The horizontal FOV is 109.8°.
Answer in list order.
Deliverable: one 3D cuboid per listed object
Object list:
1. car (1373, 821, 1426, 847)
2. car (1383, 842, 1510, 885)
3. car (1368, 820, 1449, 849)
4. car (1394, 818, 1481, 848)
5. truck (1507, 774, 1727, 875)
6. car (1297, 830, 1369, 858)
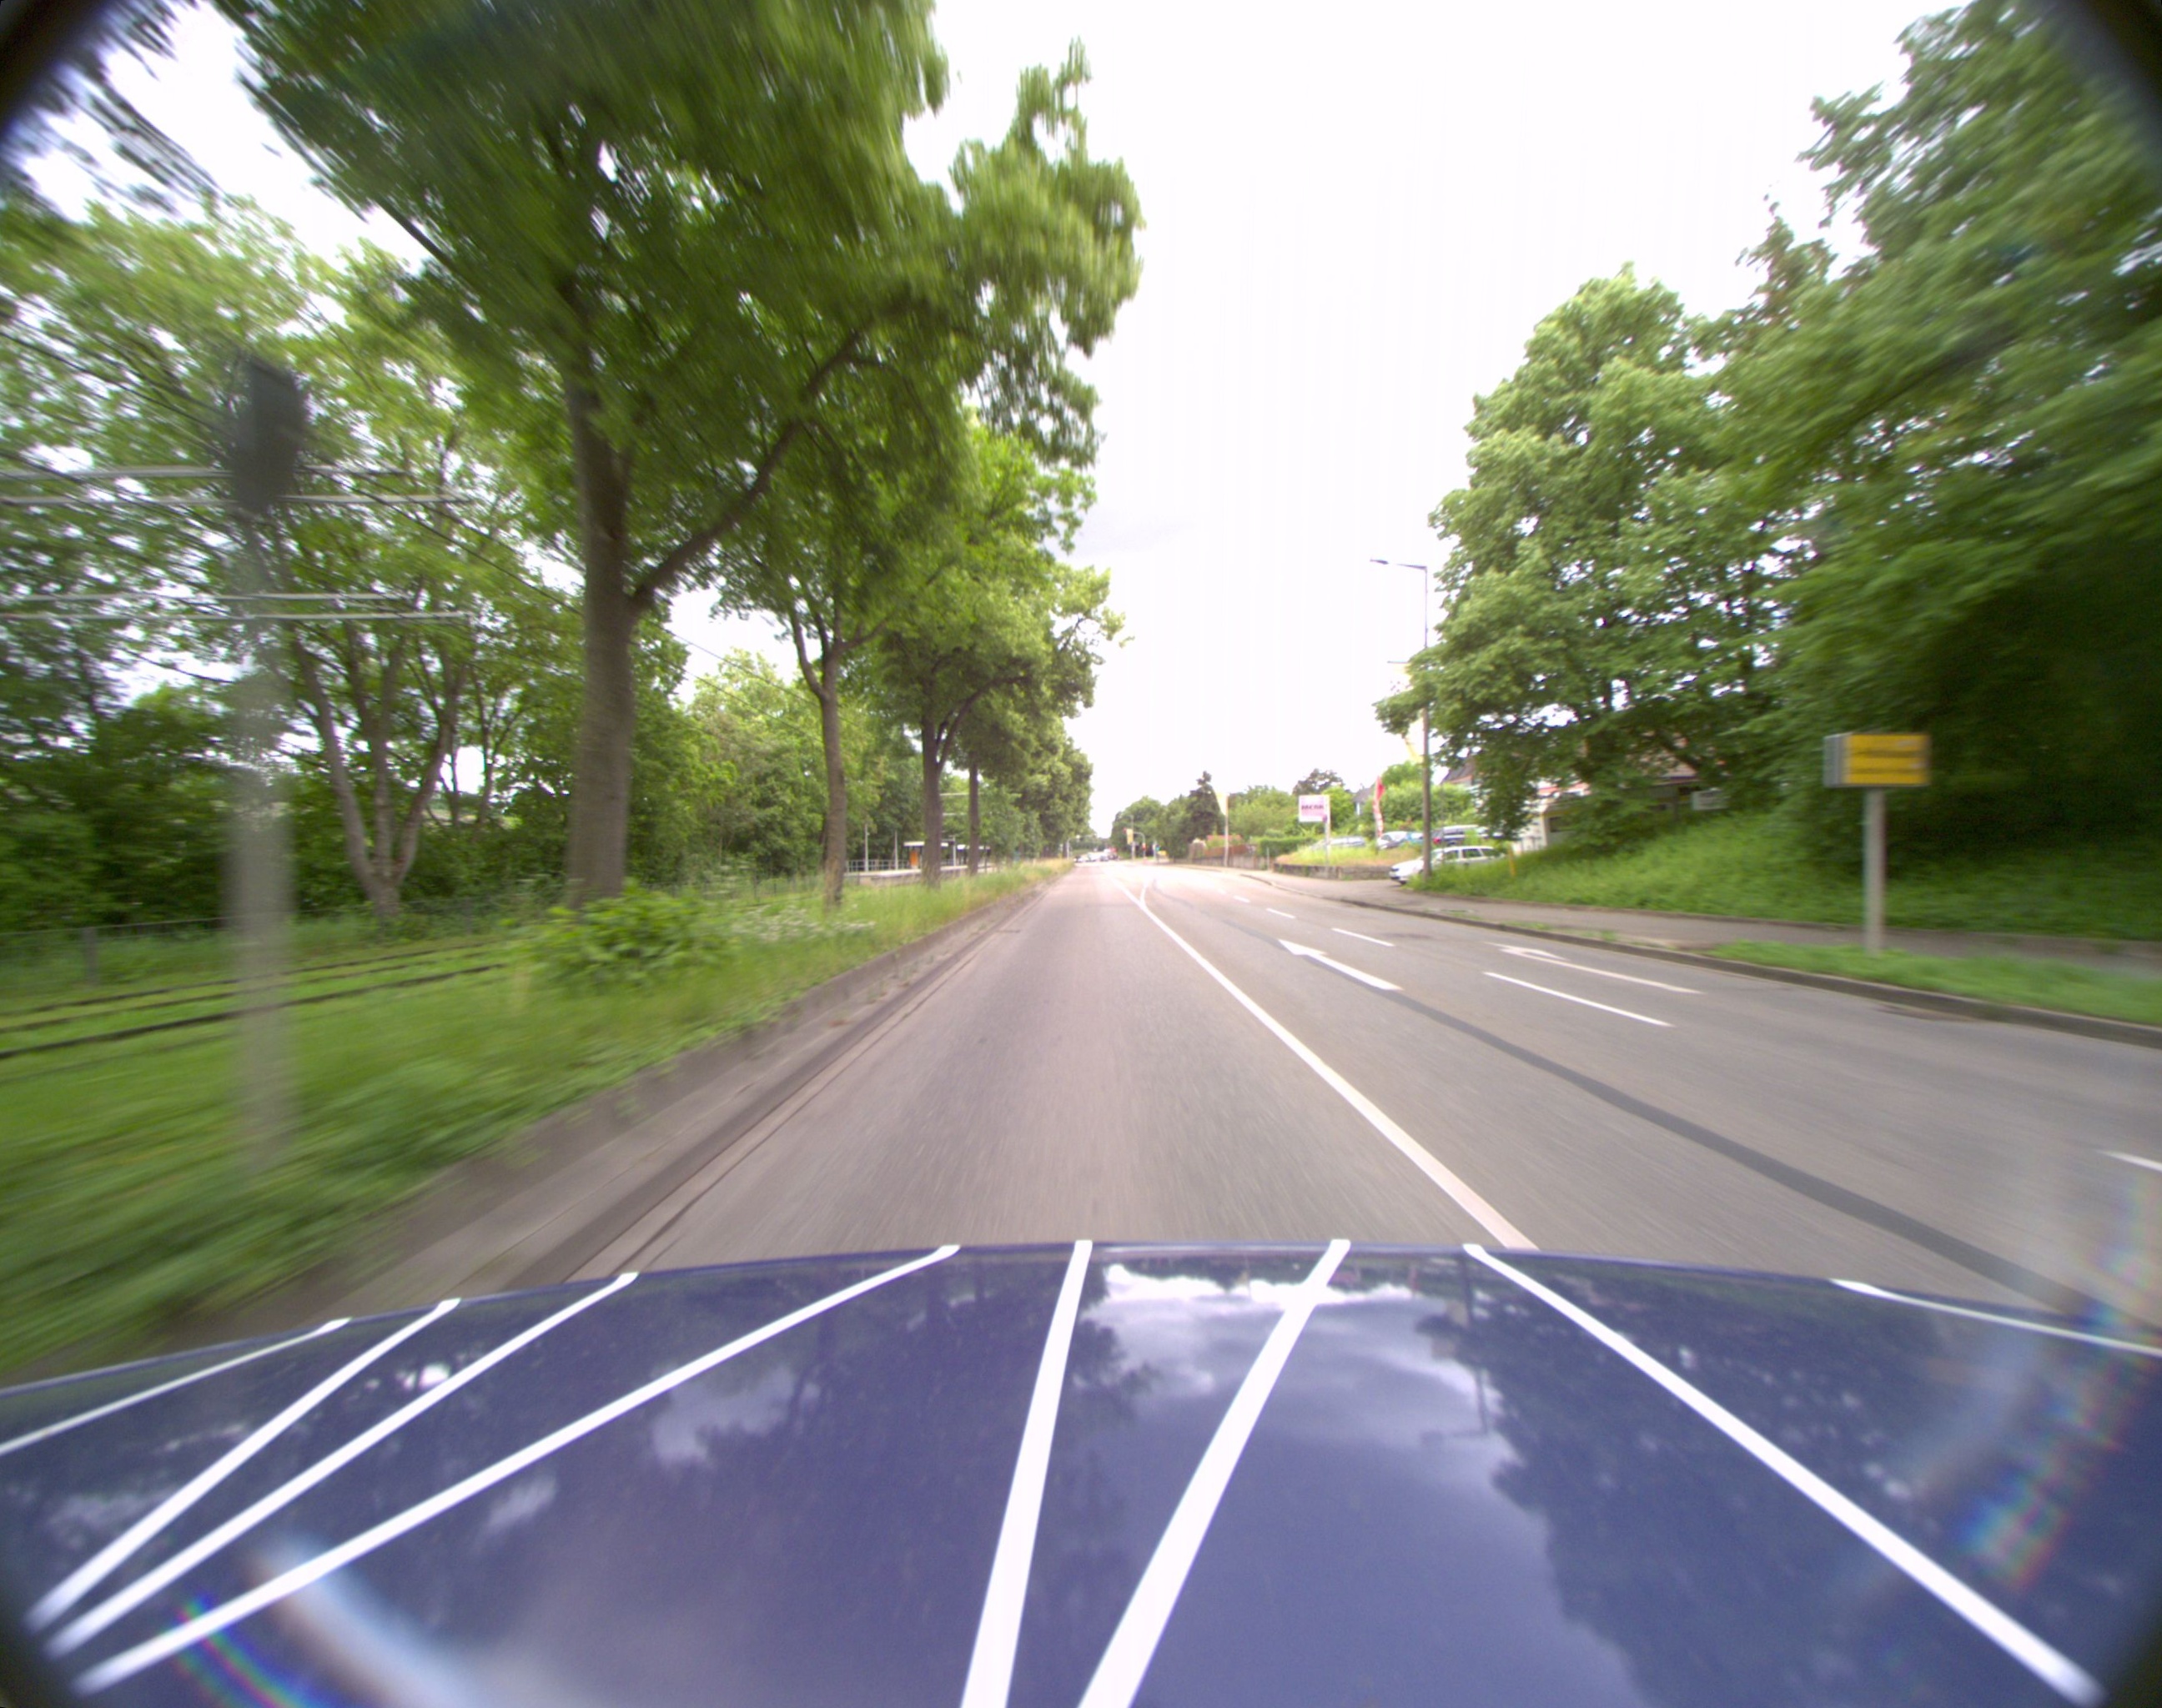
[{"bbox_3d":[20.394,-1.243,48.845,1.733,1.499,3.999,-2,1,1],"label":"car"},{"bbox_3d":[14.630,0.392,30.523,4.220,1.483,1.749,-2,-1,-3],"label":"car"},{"bbox_3d":[19.178,-1.151,44.612,3.997,1.499,1.734,-2,1,0],"label":"car"},{"bbox_3d":[19.788,-1.153,42.335,3.997,1.499,1.734,-2,1,0],"label":"car"},{"bbox_3d":[21.430,-1.145,30.668,6.923,3.609,2.658,-2,1,0],"label":"truck"},{"bbox_3d":[15.924,-0.627,48.230,3.905,1.608,1.879,-2,1,0],"label":"car"}]
